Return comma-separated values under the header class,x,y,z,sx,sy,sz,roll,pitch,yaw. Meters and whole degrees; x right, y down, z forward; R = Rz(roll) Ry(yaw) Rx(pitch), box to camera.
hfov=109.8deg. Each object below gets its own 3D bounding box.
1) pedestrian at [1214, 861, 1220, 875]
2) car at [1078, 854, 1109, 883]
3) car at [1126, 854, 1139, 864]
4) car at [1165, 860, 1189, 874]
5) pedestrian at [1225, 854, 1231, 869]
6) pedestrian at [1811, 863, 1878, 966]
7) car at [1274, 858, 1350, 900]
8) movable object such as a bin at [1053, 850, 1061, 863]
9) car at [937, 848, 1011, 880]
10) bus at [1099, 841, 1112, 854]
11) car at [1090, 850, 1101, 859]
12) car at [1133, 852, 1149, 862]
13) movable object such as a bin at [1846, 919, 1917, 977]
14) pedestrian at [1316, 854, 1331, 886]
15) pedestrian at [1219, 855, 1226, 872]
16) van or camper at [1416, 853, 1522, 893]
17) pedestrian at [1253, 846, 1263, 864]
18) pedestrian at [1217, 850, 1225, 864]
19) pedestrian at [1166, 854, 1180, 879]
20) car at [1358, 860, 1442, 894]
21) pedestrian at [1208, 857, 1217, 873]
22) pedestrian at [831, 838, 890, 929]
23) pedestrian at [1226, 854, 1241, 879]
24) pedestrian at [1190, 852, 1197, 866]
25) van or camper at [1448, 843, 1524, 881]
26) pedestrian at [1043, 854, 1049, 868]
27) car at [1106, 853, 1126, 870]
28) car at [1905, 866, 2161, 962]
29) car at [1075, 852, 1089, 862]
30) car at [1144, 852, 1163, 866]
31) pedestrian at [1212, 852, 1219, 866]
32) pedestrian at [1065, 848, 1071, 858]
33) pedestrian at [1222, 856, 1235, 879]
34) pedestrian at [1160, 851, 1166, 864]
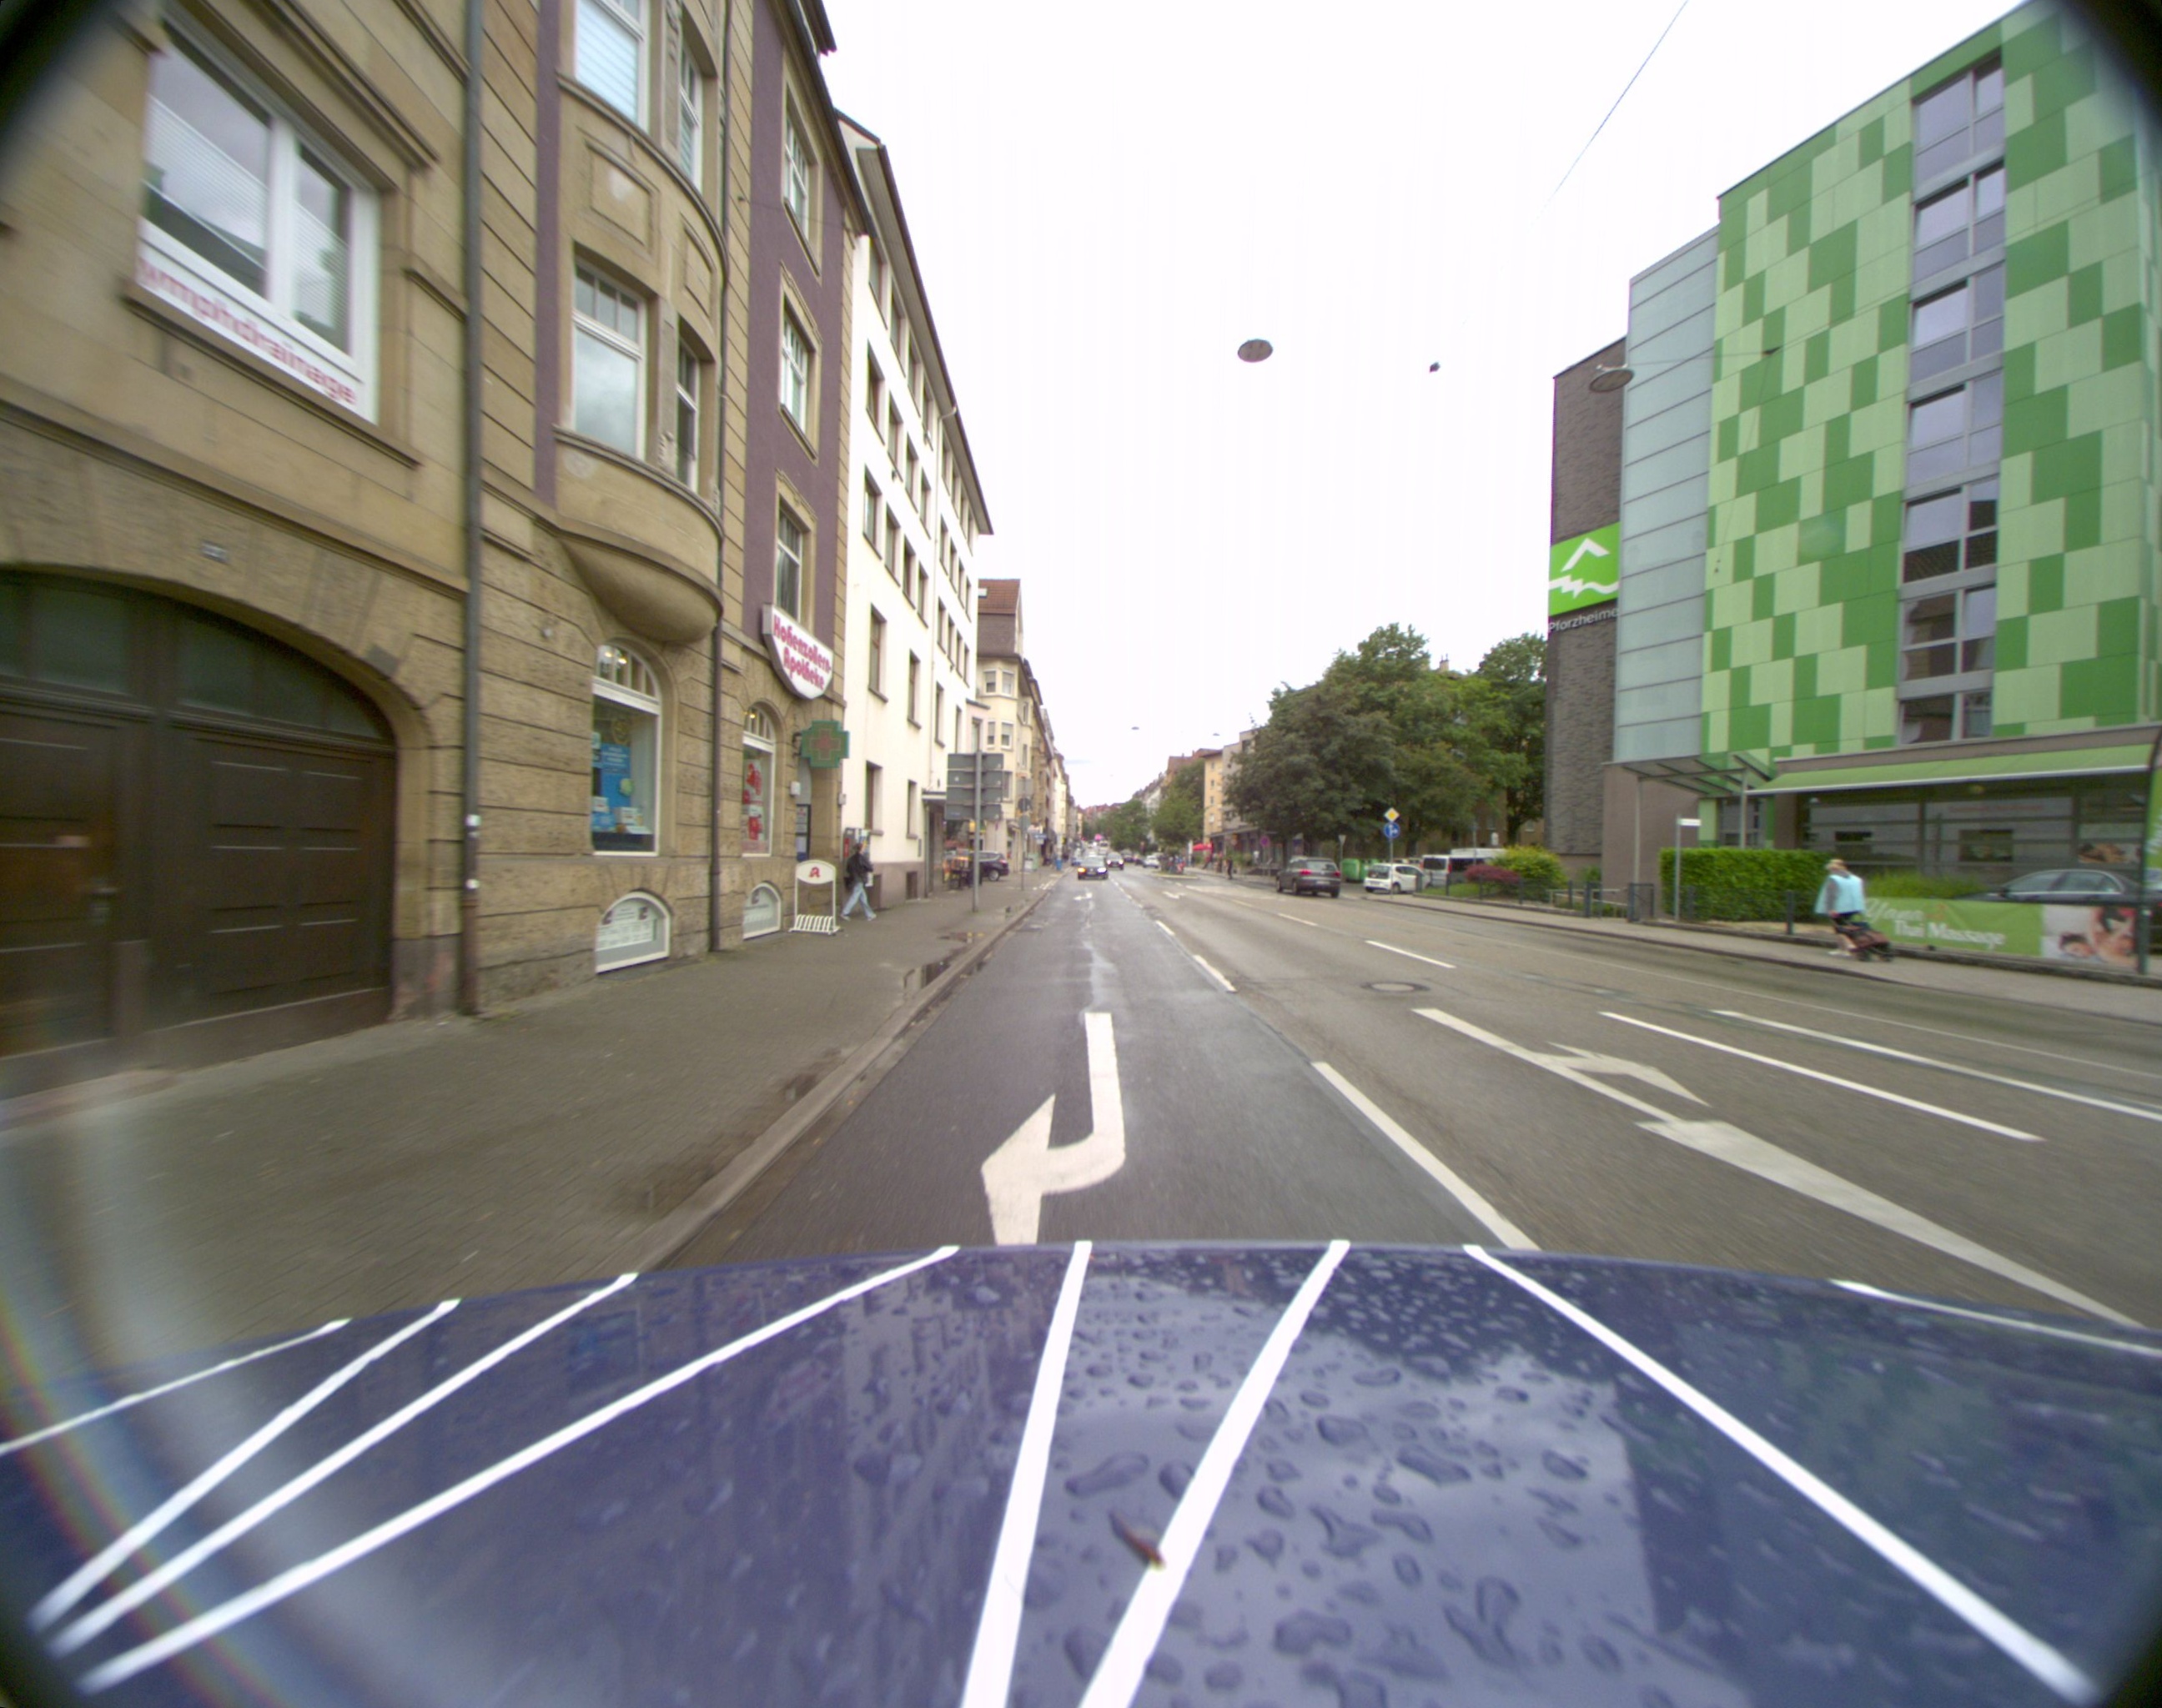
class,x,y,z,sx,sy,sz,roll,pitch,yaw
pedestrian,13.342,1.386,74.516,0.434,1.402,0.481,0,1,-3
car,0.813,0.864,46.549,1.734,1.538,3.981,2,1,2
car,9.073,0.871,133.061,1.959,1.504,4.912,-2,3,7
car,9.939,1.340,78.967,2.019,1.417,4.499,0,0,0
pedestrian,14.387,0.741,74.325,0.461,1.465,0.530,0,1,-3
pedestrian,13.038,1.002,12.982,0.749,1.675,0.752,1,1,-44
car,9.687,1.011,32.204,1.953,1.649,4.056,0,0,-1
movable object such as a bin,-3.321,0.328,103.876,1.002,1.783,1.296,1,1,-2
car,-6.161,0.559,43.752,4.152,1.761,1.871,0,0,-9
bus,6.657,-1.813,211.142,2.813,3.228,11.958,5,1,-1
car,2.785,0.106,149.593,1.960,1.548,4.242,2,0,-2
car,9.224,0.472,117.578,1.960,1.548,4.242,2,0,-2
movable object such as a bin,12.980,1.506,12.338,0.735,0.784,0.752,0,2,-44
pedestrian,13.410,0.898,42.017,0.576,1.752,0.581,1,1,-6
pedestrian,13.878,0.897,74.467,0.499,1.663,0.552,0,1,-3
van or camper,20.048,0.976,39.269,4.973,2.001,1.997,0,-2,-21
pedestrian,17.820,0.144,76.491,0.724,1.815,0.720,0,0,-28
pedestrian,16.327,0.368,88.782,0.711,1.669,0.801,1,1,28
pedestrian,6.688,0.900,55.187,0.724,1.815,0.853,0,0,-22
car,15.429,1.074,36.794,3.593,1.560,1.737,0,0,-23
pedestrian,14.521,1.192,83.690,0.724,1.815,0.721,0,0,-19
pedestrian,-4.381,0.580,15.145,0.673,1.710,0.902,3,0,15
pedestrian,11.425,0.905,56.964,0.863,1.834,0.693,1,1,-14
pedestrian,14.598,0.620,98.693,0.591,1.809,0.870,1,1,-8
van or camper,26.388,0.498,49.472,4.625,2.253,2.206,-1,1,-29
pedestrian,-3.825,0.740,82.969,0.563,1.563,0.626,0,1,-16
car,3.591,0.765,76.548,1.855,1.646,4.206,1,0,4
car,18.267,1.004,13.775,1.997,1.430,4.655,1,0,8
car,0.208,0.436,104.422,1.738,1.302,3.767,-1,1,2
car,9.141,0.638,96.388,1.824,1.560,4.088,5,0,-1
pedestrian,15.890,0.597,89.890,0.715,1.669,0.713,1,1,0
pedestrian,-2.286,-0.212,131.280,0.854,1.738,1.063,3,1,-3
pedestrian,11.225,1.016,57.699,0.658,1.749,0.719,1,1,-22
pedestrian,12.737,0.614,117.856,0.703,2.002,0.782,0,2,-4
